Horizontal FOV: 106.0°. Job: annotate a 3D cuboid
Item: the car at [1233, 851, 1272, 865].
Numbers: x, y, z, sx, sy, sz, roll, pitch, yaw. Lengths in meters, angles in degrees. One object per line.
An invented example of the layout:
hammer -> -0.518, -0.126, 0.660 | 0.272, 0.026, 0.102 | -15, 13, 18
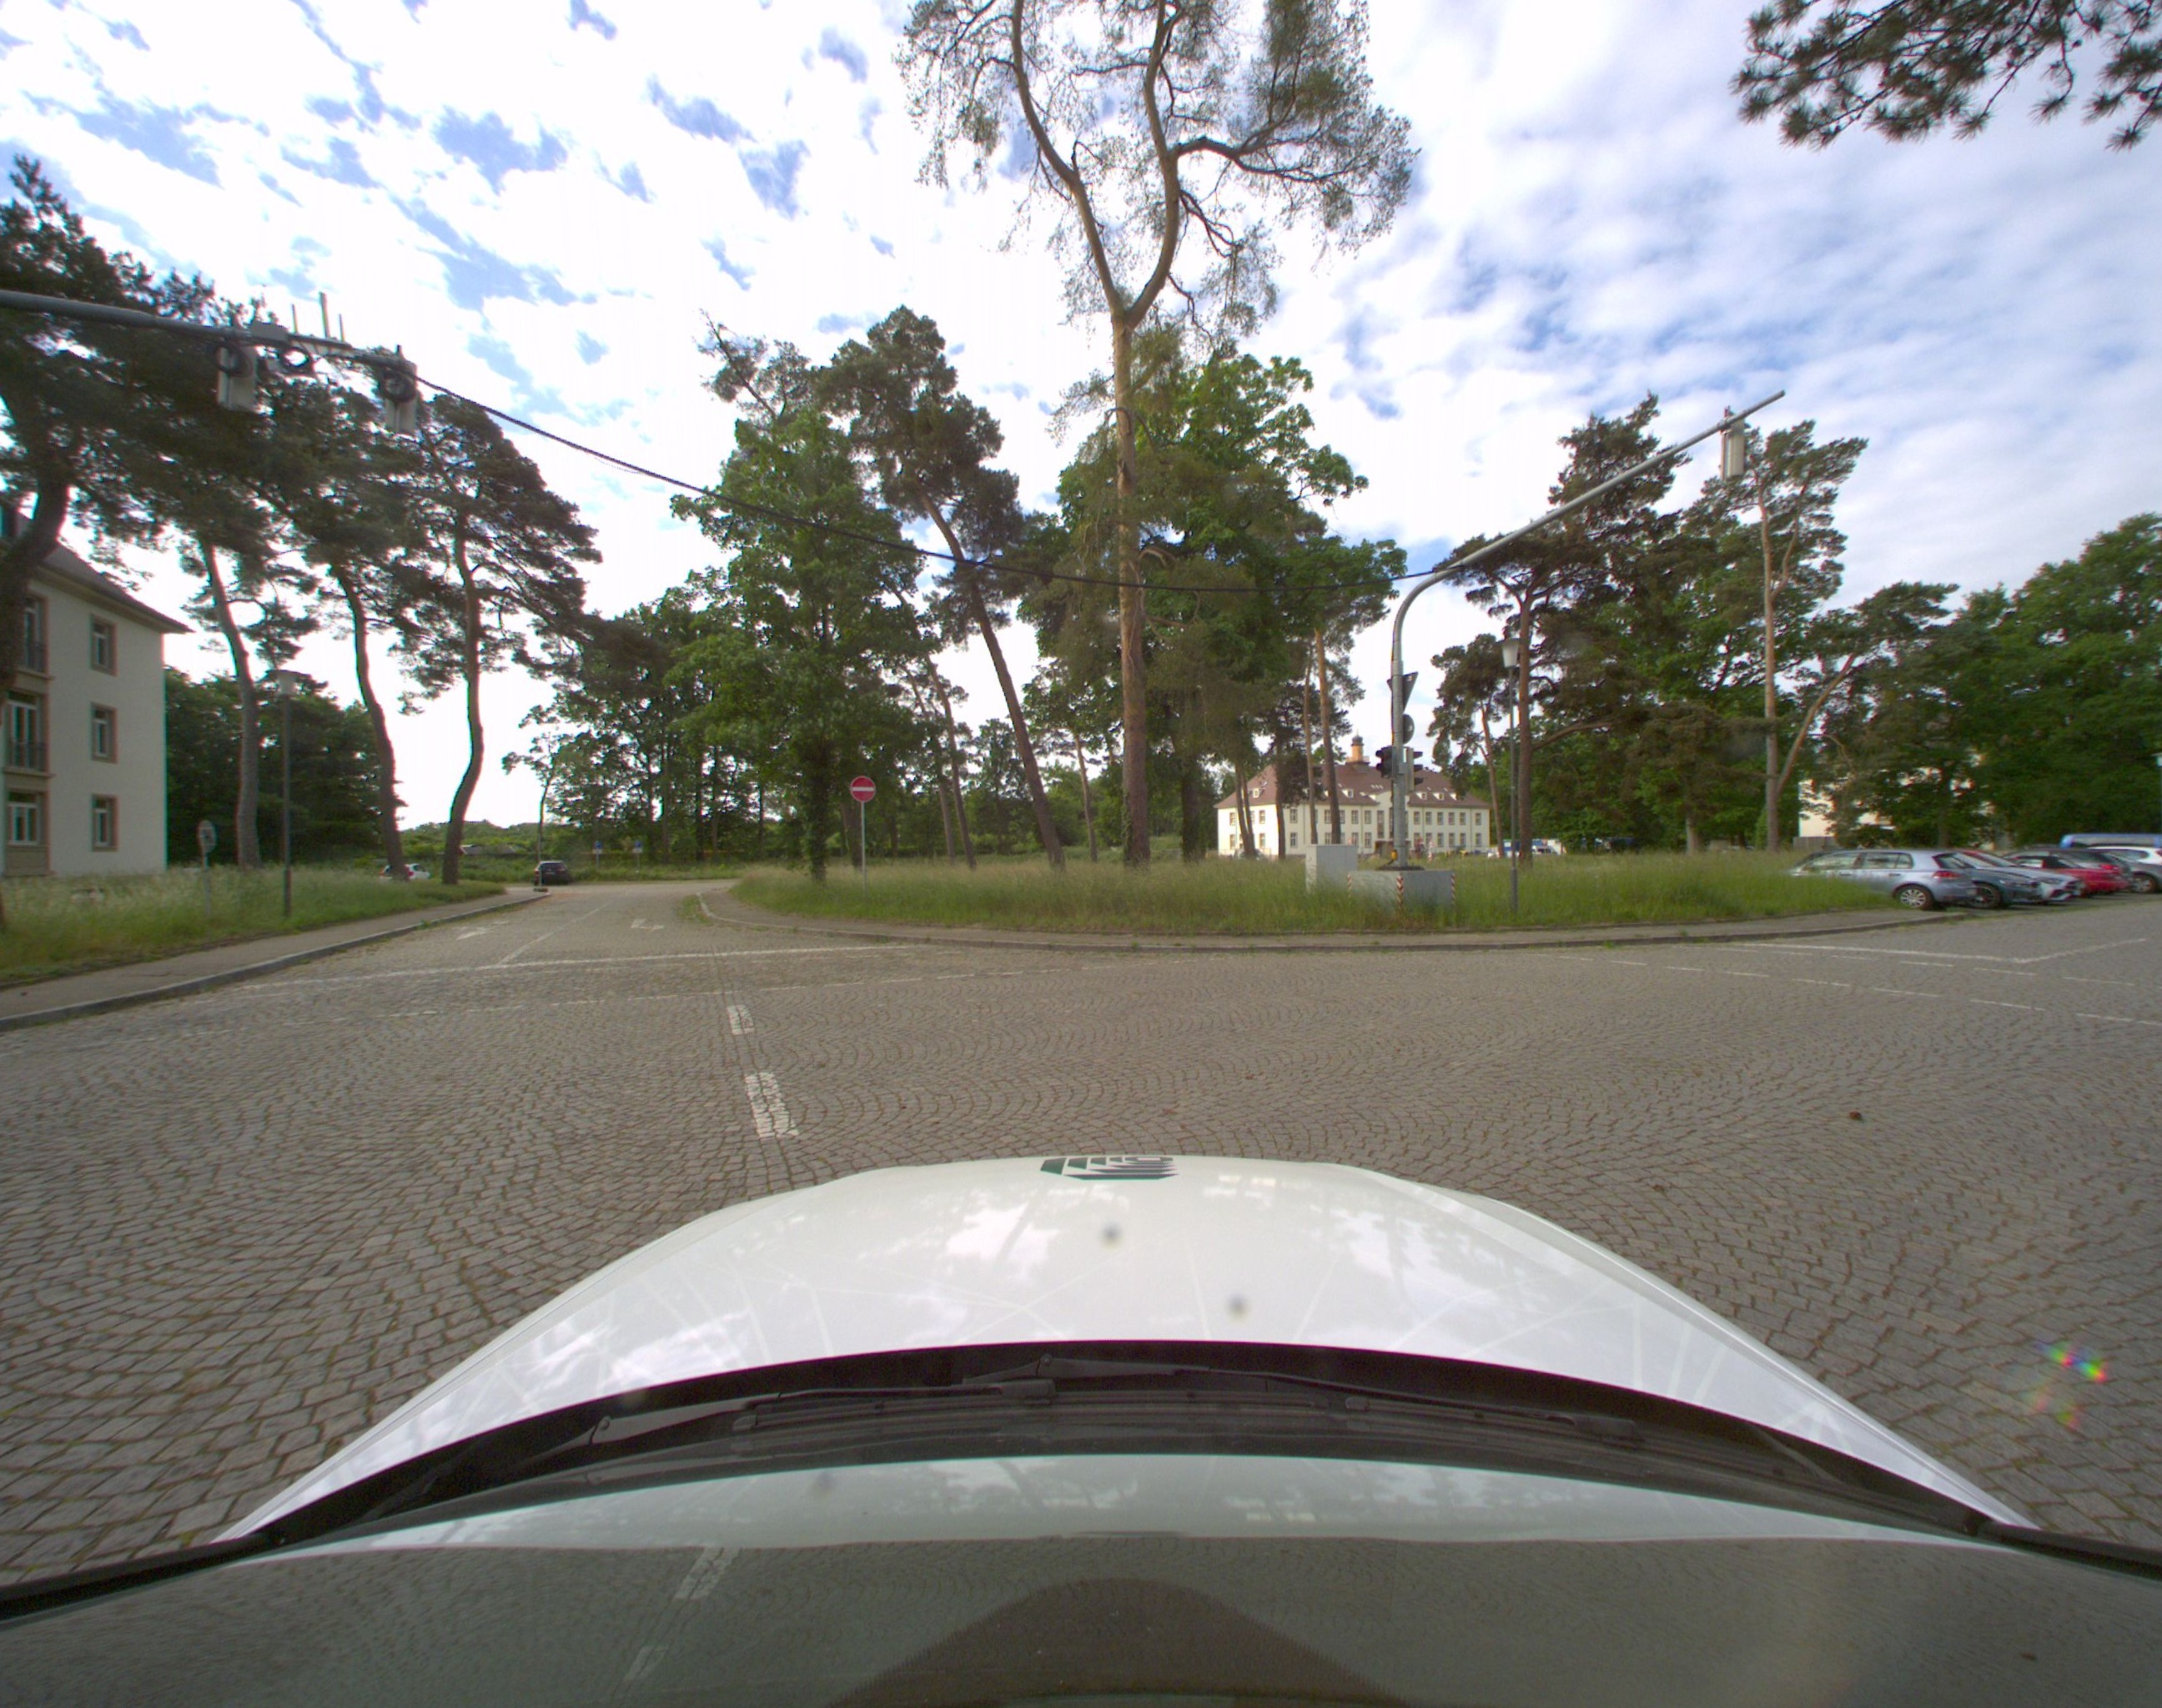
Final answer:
car -> 26.184, 0.652, 124.304 | 2.380, 2.115, 5.762 | 1, -1, -35

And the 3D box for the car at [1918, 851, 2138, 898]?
car -> 28.905, 0.577, 25.018 | 1.767, 1.283, 4.110 | -1, 1, -26

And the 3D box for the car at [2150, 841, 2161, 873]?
car -> 51.510, 0.150, 36.694 | 1.765, 1.486, 3.796 | -1, 1, -26

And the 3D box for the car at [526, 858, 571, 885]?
car -> -33.744, 1.107, 51.722 | 1.719, 1.610, 4.026 | 1, 0, -24

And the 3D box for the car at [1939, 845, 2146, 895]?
car -> 31.149, 0.454, 26.547 | 1.758, 1.480, 4.068 | -1, 1, -25

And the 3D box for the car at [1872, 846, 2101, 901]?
car -> 26.664, 0.500, 24.166 | 1.859, 1.455, 4.232 | -1, 1, -26

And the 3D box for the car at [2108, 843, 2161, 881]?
car -> 43.668, 0.317, 32.069 | 1.730, 1.493, 3.771 | -1, 1, -28

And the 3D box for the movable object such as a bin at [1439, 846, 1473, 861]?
movable object such as a bin -> 58.891, -0.116, 128.111 | 2.381, 2.254, 4.490 | 1, -1, -21

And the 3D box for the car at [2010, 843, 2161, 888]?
car -> 36.358, 0.374, 29.003 | 1.845, 1.501, 3.986 | -1, 1, -24

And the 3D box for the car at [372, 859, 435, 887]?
car -> -40.660, 1.108, 48.989 | 1.718, 1.610, 4.028 | 1, 0, -22

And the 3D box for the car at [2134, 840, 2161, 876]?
car -> 49.110, 0.189, 35.243 | 1.959, 1.575, 4.045 | -1, 1, -27

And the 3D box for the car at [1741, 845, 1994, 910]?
car -> 19.821, 0.523, 20.777 | 1.830, 1.470, 4.308 | 0, 0, -25

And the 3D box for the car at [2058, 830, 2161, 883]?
car -> 41.234, 0.083, 31.108 | 2.042, 1.980, 4.684 | -1, 1, -27

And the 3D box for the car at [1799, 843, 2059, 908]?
car -> 22.318, 0.496, 21.657 | 1.876, 1.537, 4.474 | 0, 0, -29

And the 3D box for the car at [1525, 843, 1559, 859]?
car -> 64.326, -0.356, 113.621 | 4.354, 2.095, 2.050 | 1, -2, -27

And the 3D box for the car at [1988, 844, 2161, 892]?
car -> 33.946, 0.417, 27.396 | 1.733, 1.480, 4.284 | -1, 1, -24

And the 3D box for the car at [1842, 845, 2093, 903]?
car -> 24.703, 0.483, 22.907 | 1.953, 1.455, 4.414 | 0, 0, -25
